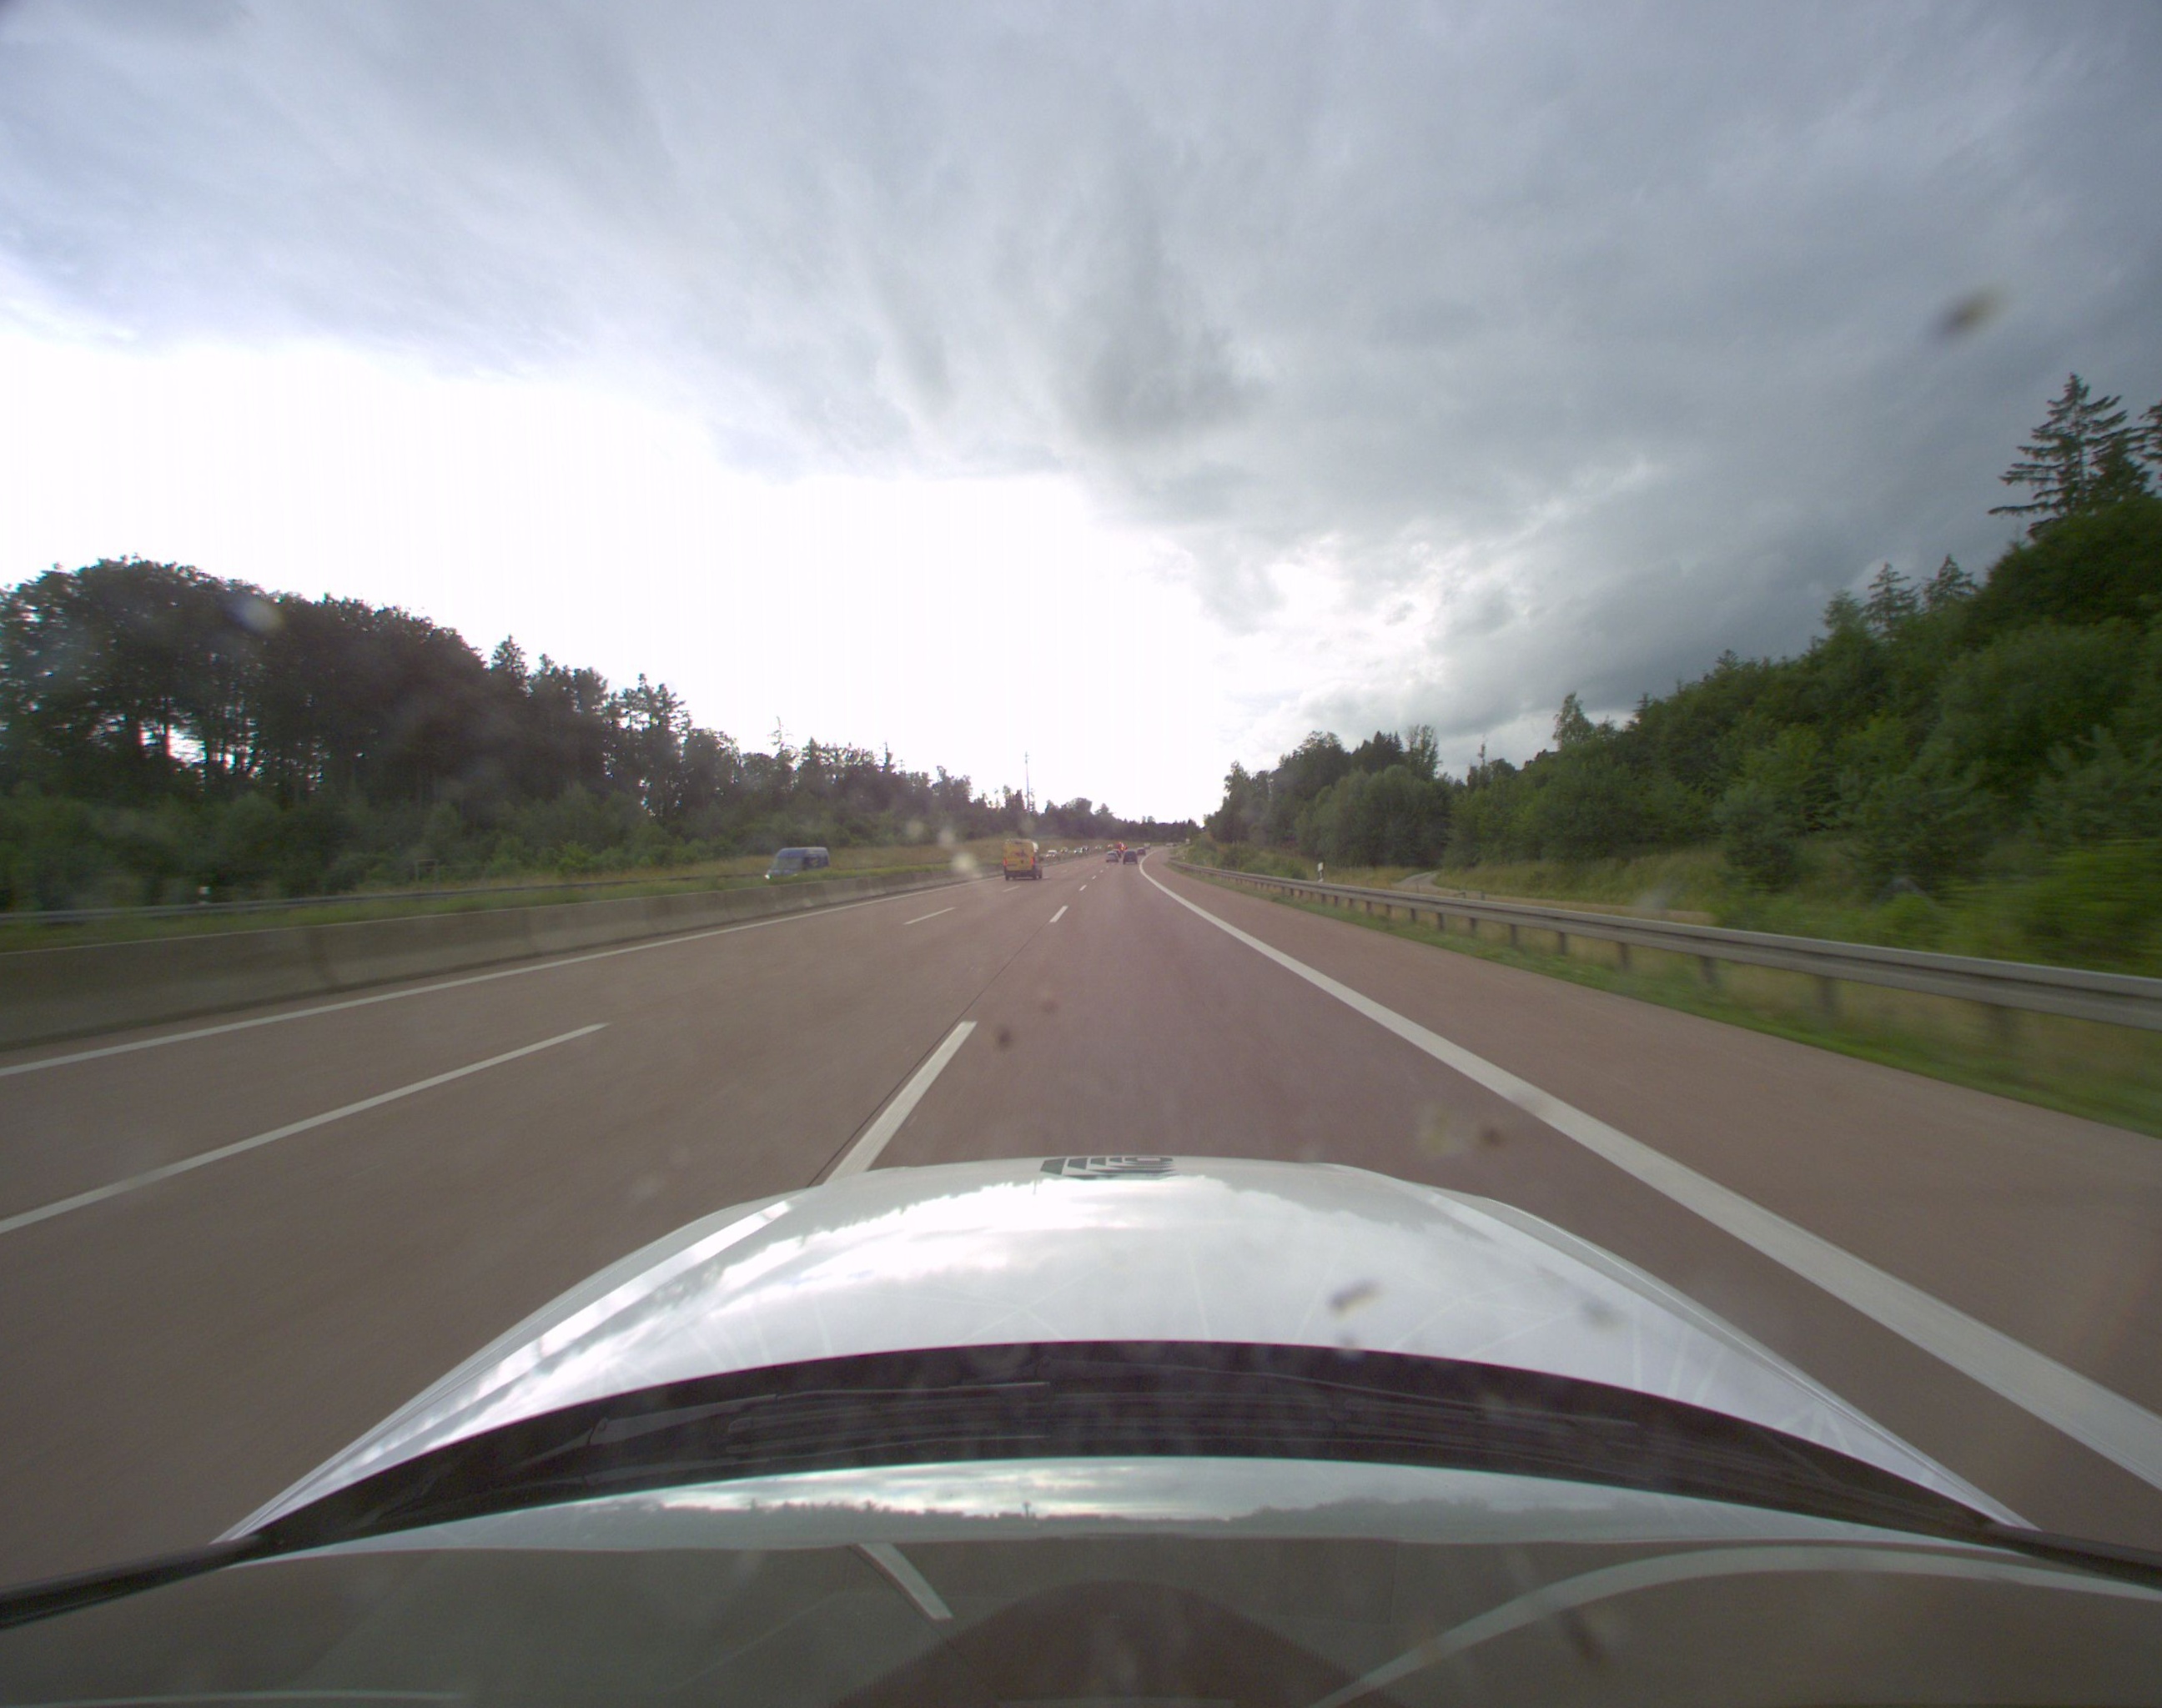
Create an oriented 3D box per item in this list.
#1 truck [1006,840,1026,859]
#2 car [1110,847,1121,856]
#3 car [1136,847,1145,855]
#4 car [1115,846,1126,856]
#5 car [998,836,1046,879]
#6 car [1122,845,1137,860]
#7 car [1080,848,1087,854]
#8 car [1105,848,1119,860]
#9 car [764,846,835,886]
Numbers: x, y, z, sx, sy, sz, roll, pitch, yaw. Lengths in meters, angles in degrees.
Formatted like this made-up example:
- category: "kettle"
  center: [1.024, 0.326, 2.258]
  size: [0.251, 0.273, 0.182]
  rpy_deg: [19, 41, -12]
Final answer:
- category: "truck"
  center: [-12.318, -0.850, 154.646]
  size: [2.999, 3.582, 6.062]
  rpy_deg: [0, -1, 3]
- category: "car"
  center: [6.801, -0.449, 159.861]
  size: [1.969, 1.648, 4.624]
  rpy_deg: [-2, -1, 4]
- category: "car"
  center: [13.294, -0.640, 182.735]
  size: [1.969, 1.648, 4.624]
  rpy_deg: [-2, -1, 4]
- category: "car"
  center: [9.985, -0.815, 207.752]
  size: [2.228, 2.430, 6.218]
  rpy_deg: [1, 0, 8]
- category: "car"
  center: [-3.906, 0.256, 55.036]
  size: [2.448, 2.706, 5.619]
  rpy_deg: [-2, -1, 4]
- category: "car"
  center: [6.565, -0.138, 110.417]
  size: [2.036, 1.897, 5.581]
  rpy_deg: [-2, -1, 3]
- category: "car"
  center: [0.818, -0.913, 249.444]
  size: [1.755, 1.638, 4.384]
  rpy_deg: [0, -1, 3]
- category: "car"
  center: [4.743, 0.008, 124.005]
  size: [1.969, 1.648, 4.622]
  rpy_deg: [-2, -1, 3]
- category: "car"
  center: [-16.733, 0.640, 48.805]
  size: [1.986, 2.242, 6.042]
  rpy_deg: [0, 0, 1]
